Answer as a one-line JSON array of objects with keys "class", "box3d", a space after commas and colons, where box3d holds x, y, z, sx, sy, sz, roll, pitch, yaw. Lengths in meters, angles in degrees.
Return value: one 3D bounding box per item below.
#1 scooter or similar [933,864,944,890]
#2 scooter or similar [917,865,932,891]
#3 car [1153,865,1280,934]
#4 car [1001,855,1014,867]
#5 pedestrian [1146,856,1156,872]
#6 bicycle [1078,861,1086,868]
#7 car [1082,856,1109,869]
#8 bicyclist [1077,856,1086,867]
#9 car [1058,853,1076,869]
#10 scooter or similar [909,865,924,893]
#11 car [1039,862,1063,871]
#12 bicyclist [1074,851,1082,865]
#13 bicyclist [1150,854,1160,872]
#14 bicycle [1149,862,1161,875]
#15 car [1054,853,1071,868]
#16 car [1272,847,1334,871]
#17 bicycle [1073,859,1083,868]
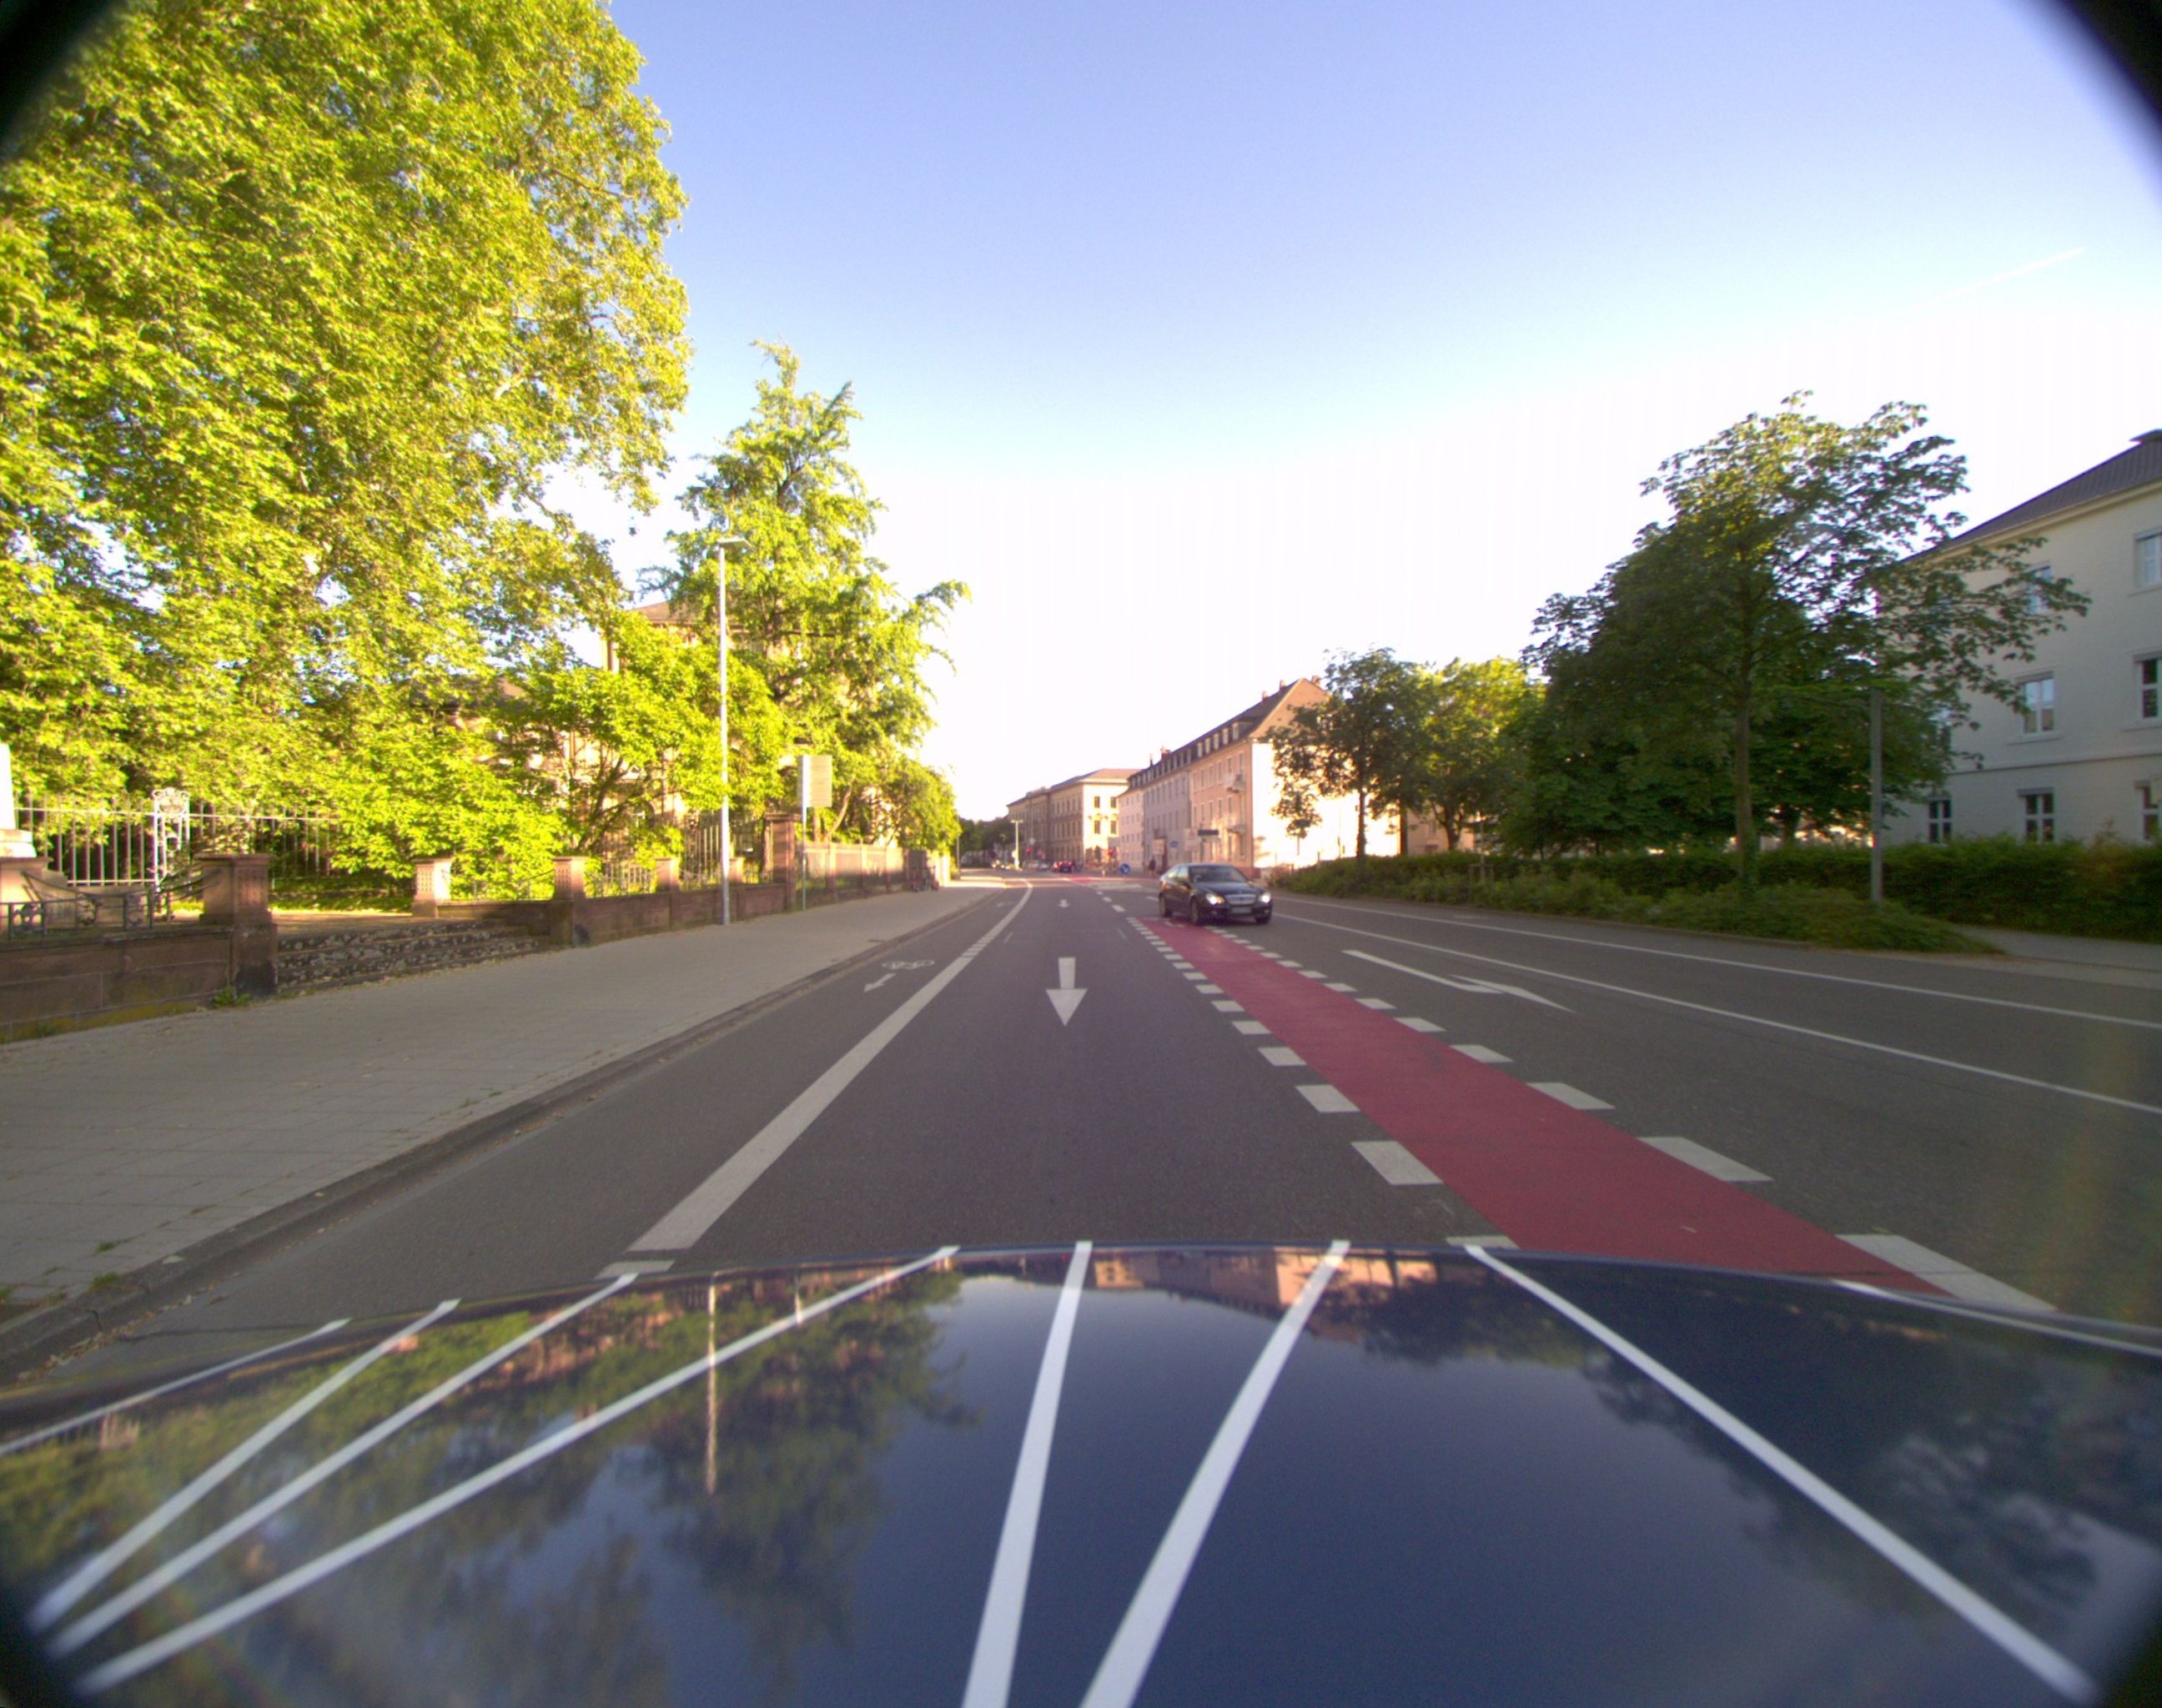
[{"class": "scooter or similar", "box3d": [-7.091, 1.138, 37.783, 0.517, 1.233, 1.521, 0, 0, -11]}, {"class": "scooter or similar", "box3d": [-7.565, 1.148, 36.701, 0.576, 1.177, 1.487, 0, 0, -7]}, {"class": "car", "box3d": [3.127, 1.002, 18.436, 1.710, 1.397, 4.261, 0, 0, -9]}, {"class": "car", "box3d": [-12.999, 1.219, 135.119, 1.867, 1.871, 4.000, -2, 1, 1]}, {"class": "pedestrian", "box3d": [8.657, 1.189, 93.641, 0.949, 1.894, 1.062, -2, 1, -7]}, {"class": "bicycle", "box3d": [0.079, 1.458, 104.216, 0.663, 0.907, 2.861, 0, 0, -9]}, {"class": "car", "box3d": [2.425, 1.359, 126.909, 4.513, 2.093, 2.000, 0, 0, -1]}, {"class": "bicyclist", "box3d": [0.090, 1.002, 104.161, 1.026, 1.481, 0.870, 0, 0, -9]}, {"class": "car", "box3d": [-1.783, 0.837, 96.283, 1.999, 2.002, 3.998, 0, 0, -5]}, {"class": "scooter or similar", "box3d": [-7.551, 1.133, 34.848, 0.577, 1.246, 1.486, 0, 0, -15]}, {"class": "car", "box3d": [-5.106, 2.091, 129.598, 3.694, 1.478, 1.640, -1, 1, 20]}, {"class": "bicyclist", "box3d": [-0.398, 0.629, 108.899, 0.956, 2.002, 1.307, 0, 0, -9]}, {"class": "bicyclist", "box3d": [6.378, 0.765, 65.700, 0.691, 1.553, 0.838, 1, 0, -3]}, {"class": "bicycle", "box3d": [6.372, 1.241, 65.725, 0.697, 1.152, 2.245, 1, 0, -3]}, {"class": "car", "box3d": [-2.469, 0.880, 101.922, 1.999, 2.002, 3.998, 0, 0, -5]}, {"class": "car", "box3d": [16.764, 0.370, 57.571, 4.000, 1.652, 1.998, -2, 1, -9]}, {"class": "bicycle", "box3d": [-0.470, 1.362, 109.133, 0.956, 1.216, 2.776, 0, 0, -9]}]
